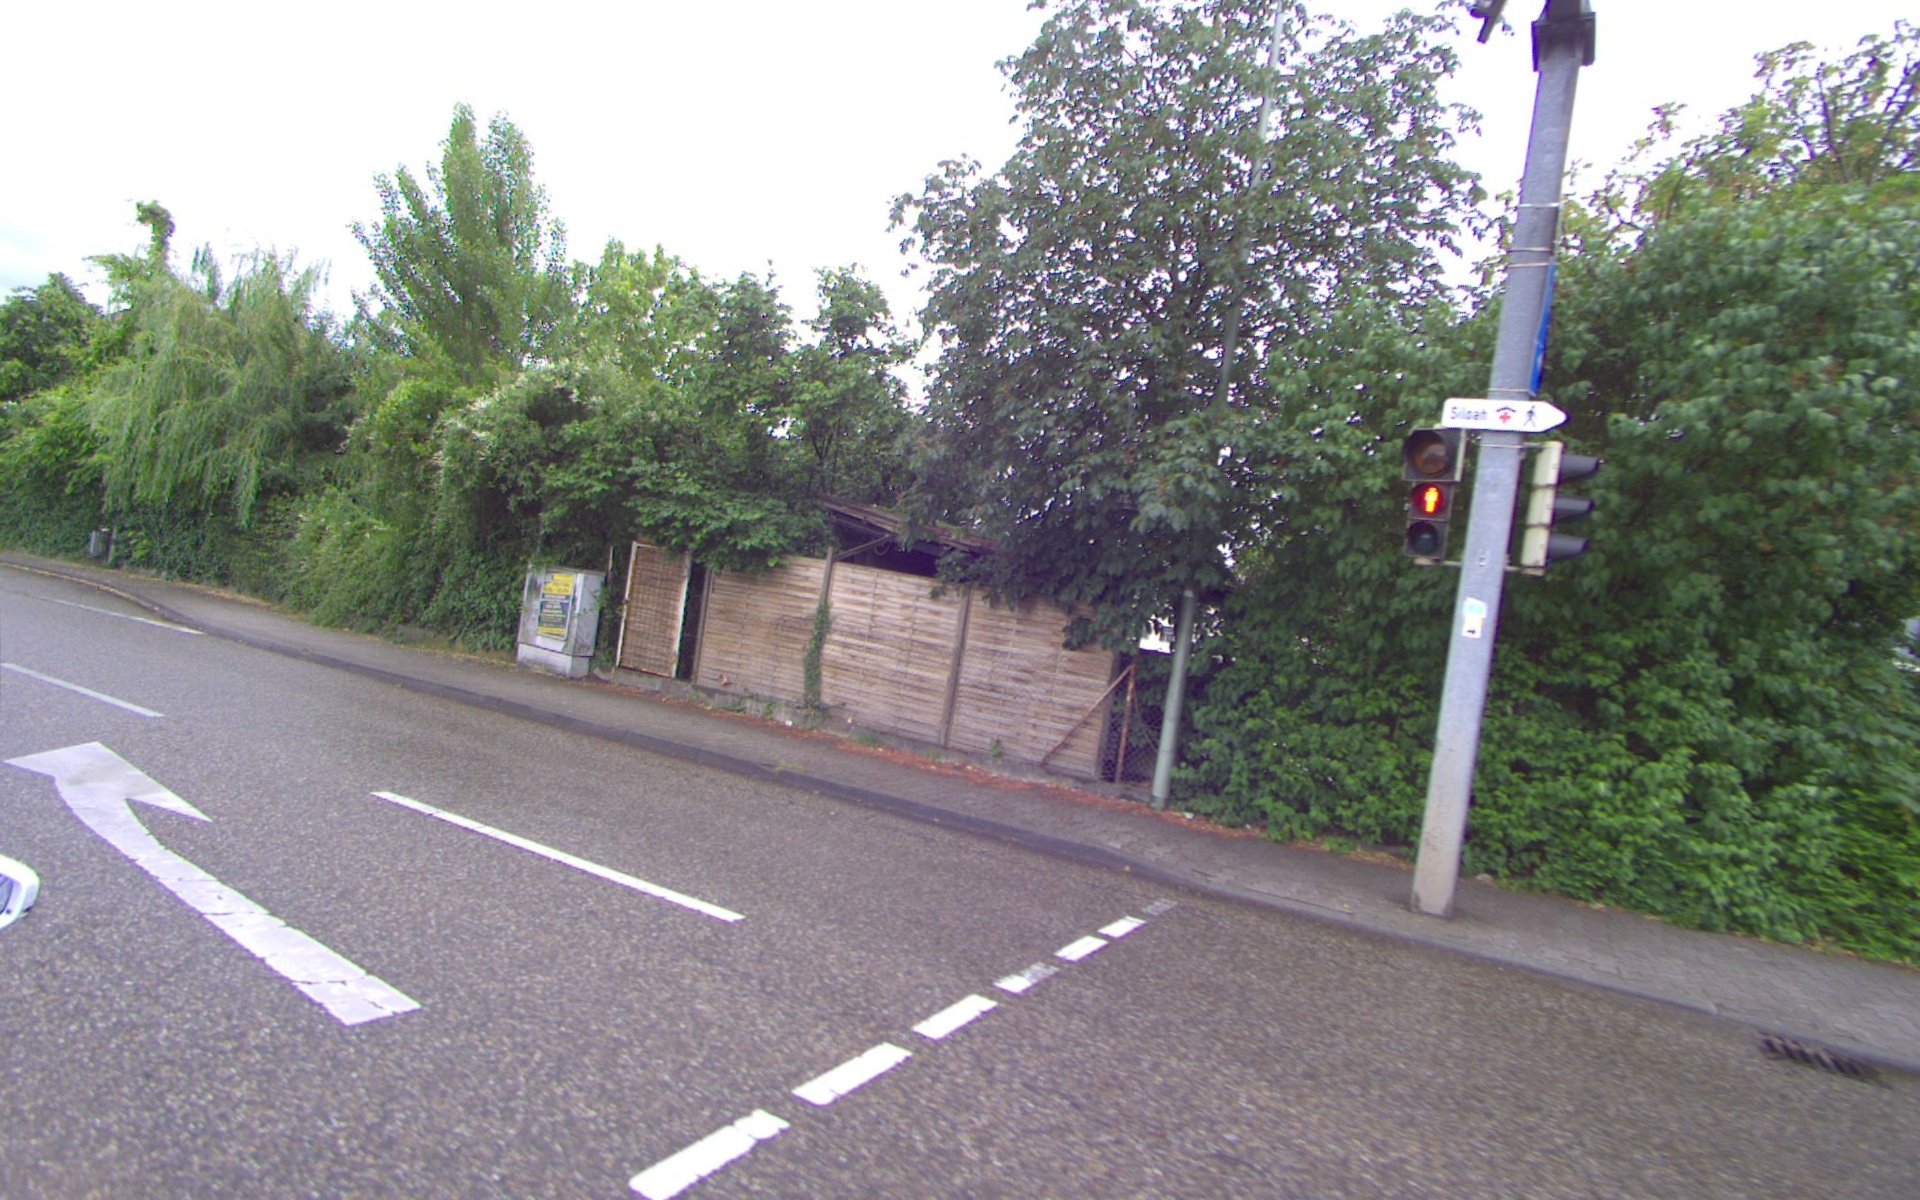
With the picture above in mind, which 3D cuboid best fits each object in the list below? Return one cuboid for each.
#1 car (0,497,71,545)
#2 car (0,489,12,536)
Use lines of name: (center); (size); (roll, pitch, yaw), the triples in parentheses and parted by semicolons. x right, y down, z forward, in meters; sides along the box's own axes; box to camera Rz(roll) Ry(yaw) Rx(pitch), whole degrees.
car: (-33.414, -2.868, 34.689); (1.698, 1.412, 3.724); (6, -1, 24)
car: (-38.028, -3.537, 37.369); (1.678, 1.768, 3.636); (7, -1, 28)
